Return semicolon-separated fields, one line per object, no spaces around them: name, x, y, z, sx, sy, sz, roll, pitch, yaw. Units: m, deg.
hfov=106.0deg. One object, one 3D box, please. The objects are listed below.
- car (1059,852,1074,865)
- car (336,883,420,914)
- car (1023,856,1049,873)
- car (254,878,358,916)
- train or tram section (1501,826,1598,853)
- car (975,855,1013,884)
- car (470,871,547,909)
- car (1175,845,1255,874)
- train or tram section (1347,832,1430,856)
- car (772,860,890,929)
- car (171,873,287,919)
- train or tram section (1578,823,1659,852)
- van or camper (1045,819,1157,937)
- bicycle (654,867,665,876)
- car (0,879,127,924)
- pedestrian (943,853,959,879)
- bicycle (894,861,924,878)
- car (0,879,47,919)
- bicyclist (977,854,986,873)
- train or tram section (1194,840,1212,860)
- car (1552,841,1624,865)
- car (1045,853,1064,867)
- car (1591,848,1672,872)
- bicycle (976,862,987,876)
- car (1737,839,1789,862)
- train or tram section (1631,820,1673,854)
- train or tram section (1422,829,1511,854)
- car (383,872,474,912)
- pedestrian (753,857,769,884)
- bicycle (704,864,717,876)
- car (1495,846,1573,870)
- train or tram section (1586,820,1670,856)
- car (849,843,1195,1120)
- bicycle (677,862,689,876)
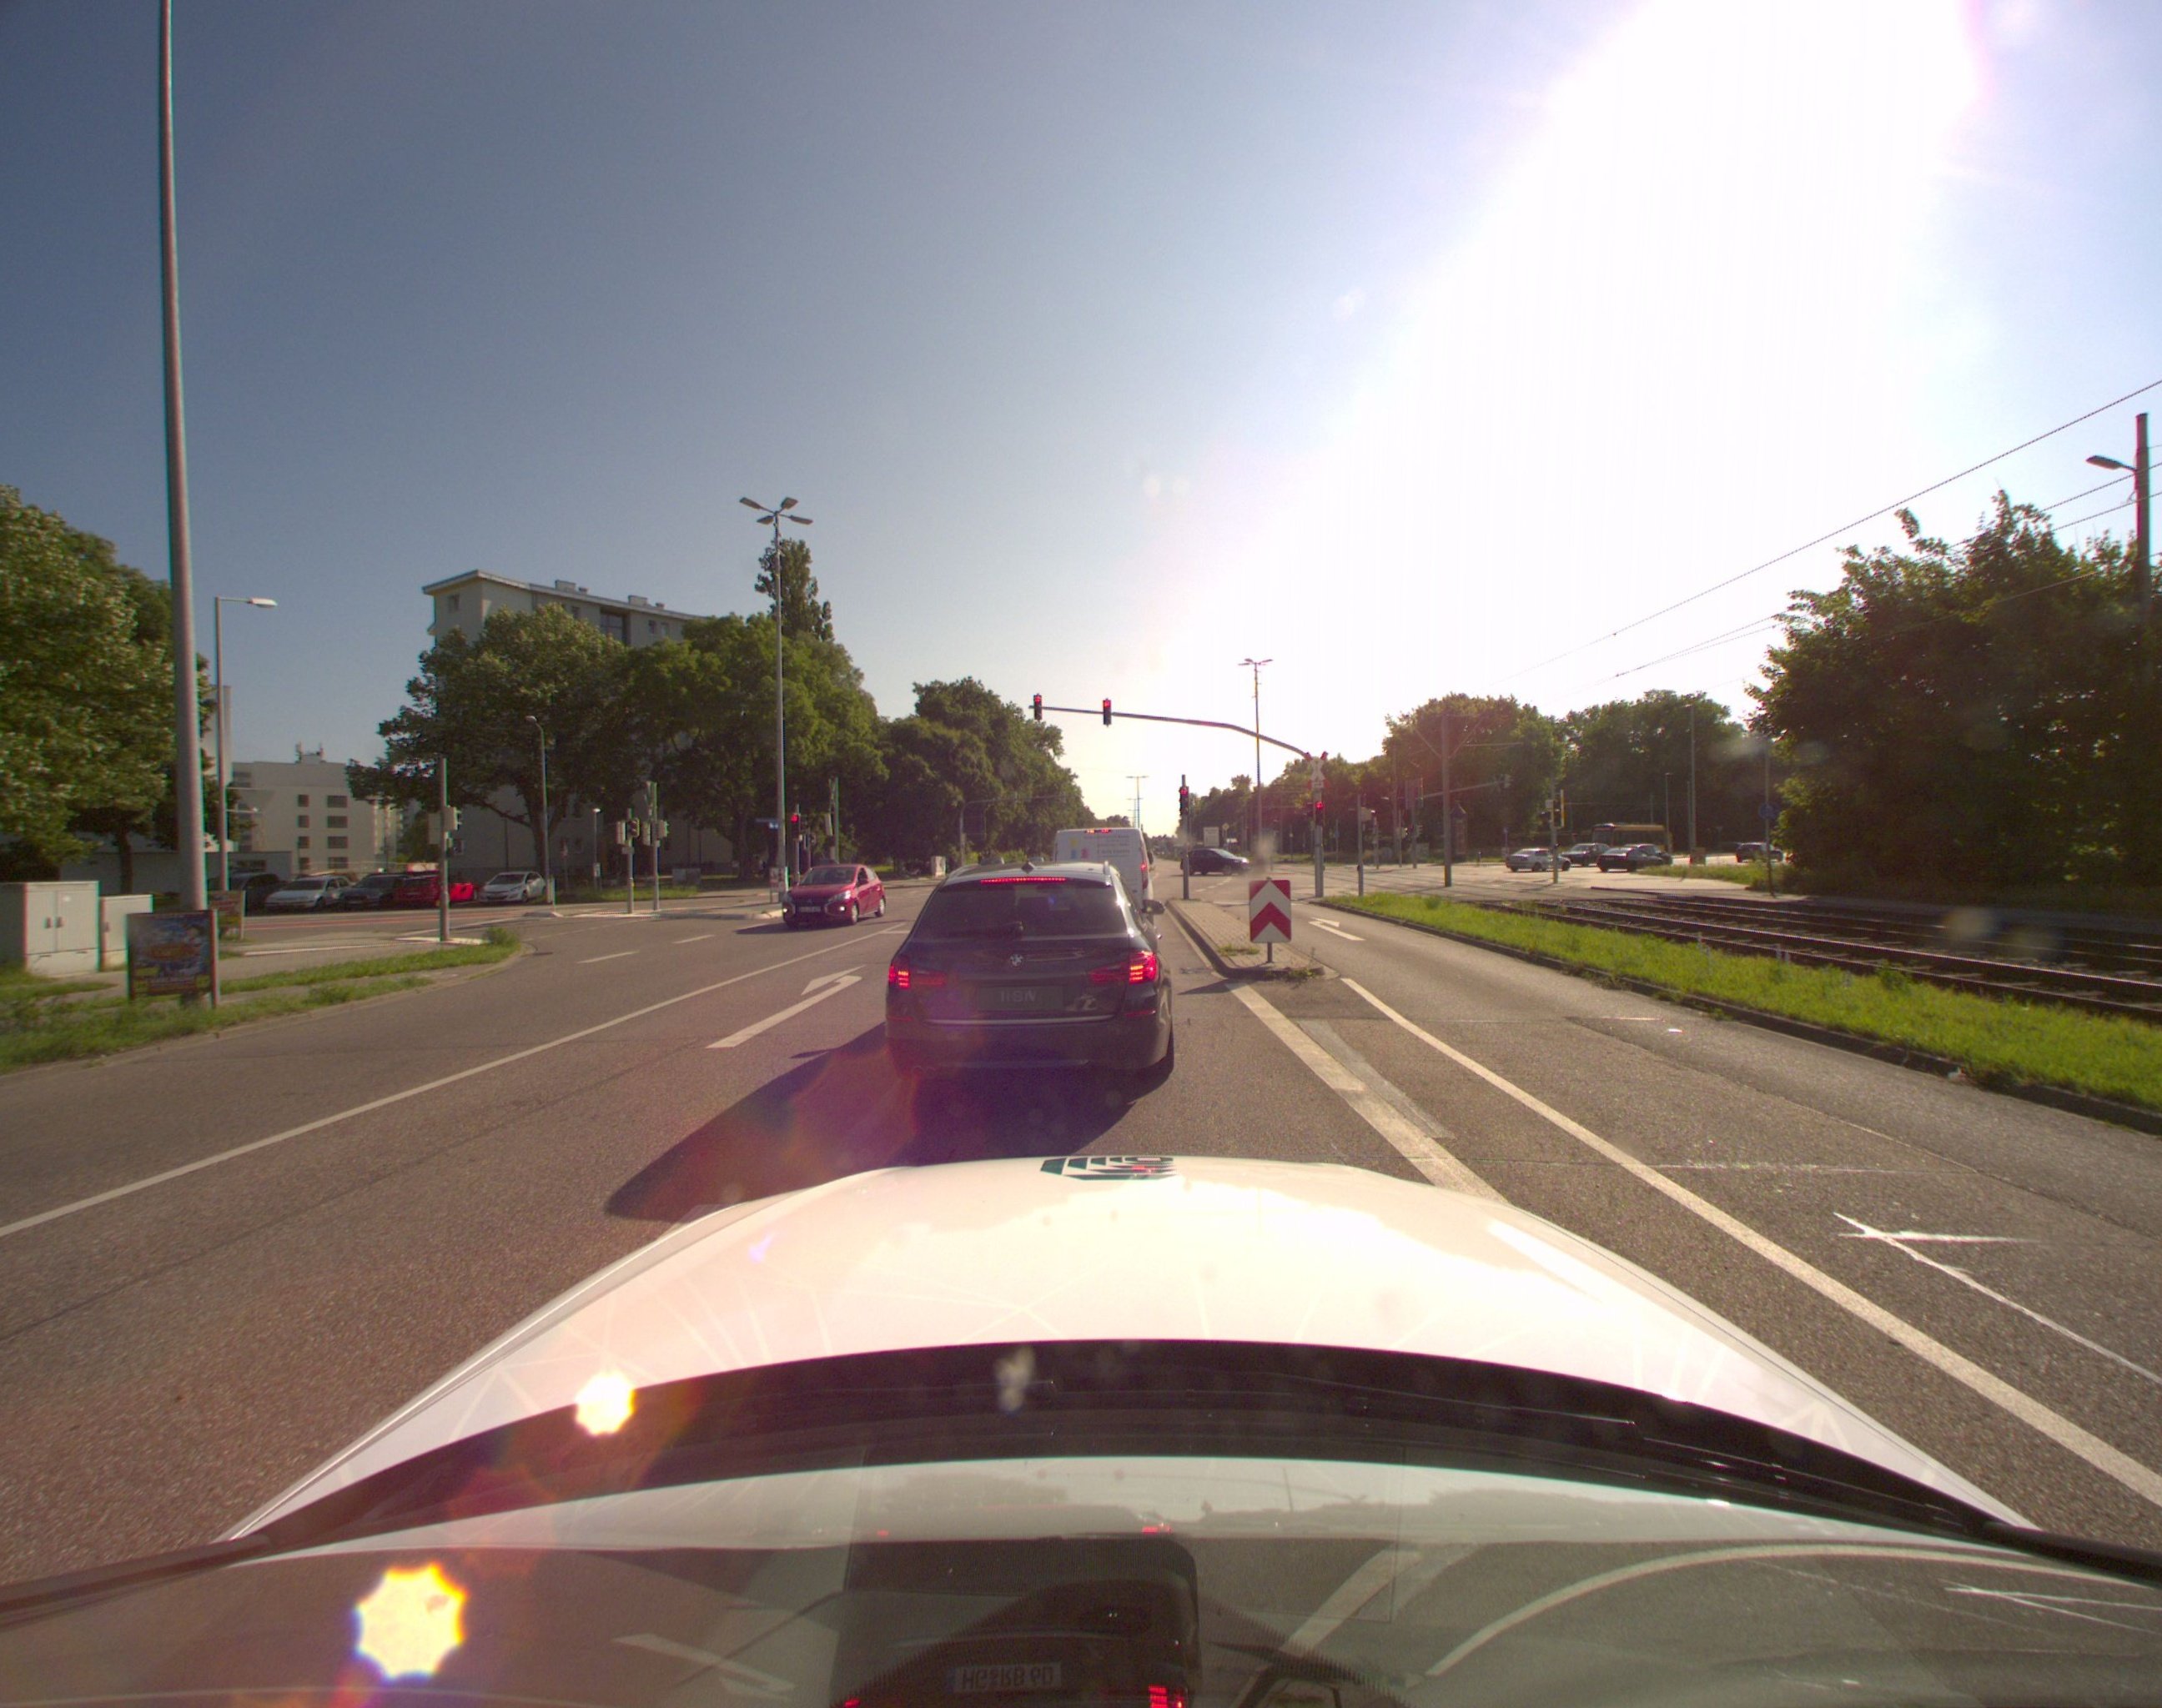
car;-1.917;0.556;108.529;1.738;1.562;4.003;-3;0;3
car;-32.774;2.047;38.089;1.463;1.193;3.767;-1;0;-15
car;-4.005;0.890;72.903;1.771;1.414;4.249;-1;0;4
car;-35.414;1.927;37.355;1.783;1.521;3.977;-1;0;-16
train or tram section;67.341;-1.973;117.558;3.064;3.579;12.108;-1;0;-31
car;-5.195;0.889;49.118;1.626;1.560;3.680;-3;0;4
car;-27.906;1.700;39.850;1.783;1.439;3.980;-1;3;-15
car;8.155;0.352;49.789;4.563;1.722;1.659;-1;0;39
train or tram section;50.397;-1.664;133.840;12.279;3.579;3.073;-1;0;33
car;-6.144;0.935;20.437;1.688;1.498;3.677;-2;0;1
car;-38.059;1.822;36.521;1.783;1.811;3.977;-1;0;-16
train or tram section;69.664;-2.060;106.051;3.031;3.579;12.241;-1;0;3
van or camper;0.500;0.425;17.018;1.985;2.096;4.602;-1;0;3
bicycle;-34.307;1.429;66.238;0.587;0.708;2.215;-1;0;-33
car;-44.365;2.006;35.222;1.785;1.477;4.785;-1;3;-19
pedestrian;-8.754;0.821;54.959;0.811;1.752;0.933;-1;0;7
bicycle;-11.634;1.048;55.083;1.902;1.119;0.632;-1;0;1
car;-46.079;2.012;33.669;1.785;1.476;4.686;-1;3;-19
bicyclist;-8.203;0.743;67.174;0.605;1.560;0.603;0;0;1
train or tram section;23.150;-0.665;154.722;2.782;3.618;12.976;0;0;6
car;35.957;-0.070;57.747;4.871;1.562;2.027;-1;0;-26
car;-3.091;0.722;95.180;1.694;1.465;4.375;-3;0;5
car;32.814;0.345;48.554;4.415;1.354;1.984;-1;0;-25
bicycle;-8.203;1.220;67.128;0.617;1.040;2.073;-1;0;2
car;51.770;-0.278;61.816;4.654;1.665;1.978;-1;0;-37
train or tram section;66.107;-1.911;94.572;3.015;3.579;12.308;-1;0;31
train or tram section;60.006;-1.836;126.946;12.072;3.579;3.073;-1;0;38
car;-30.867;1.756;38.679;1.782;1.415;3.982;-1;4;-14
pedestrian;-20.278;1.034;51.633;0.619;1.713;0.707;-1;-1;14
bicycle;-31.027;1.323;68.231;0.673;0.919;2.382;-1;0;-33
car;27.956;0.236;50.264;4.415;1.354;1.984;-1;0;-24
train or tram section;57.947;-1.730;86.096;11.898;3.579;3.022;-1;0;-34
car;-0.261;0.711;6.566;1.896;1.506;4.067;-1;0;2
bicycle;-32.792;1.226;67.091;0.615;1.066;1.896;0;-2;-34
